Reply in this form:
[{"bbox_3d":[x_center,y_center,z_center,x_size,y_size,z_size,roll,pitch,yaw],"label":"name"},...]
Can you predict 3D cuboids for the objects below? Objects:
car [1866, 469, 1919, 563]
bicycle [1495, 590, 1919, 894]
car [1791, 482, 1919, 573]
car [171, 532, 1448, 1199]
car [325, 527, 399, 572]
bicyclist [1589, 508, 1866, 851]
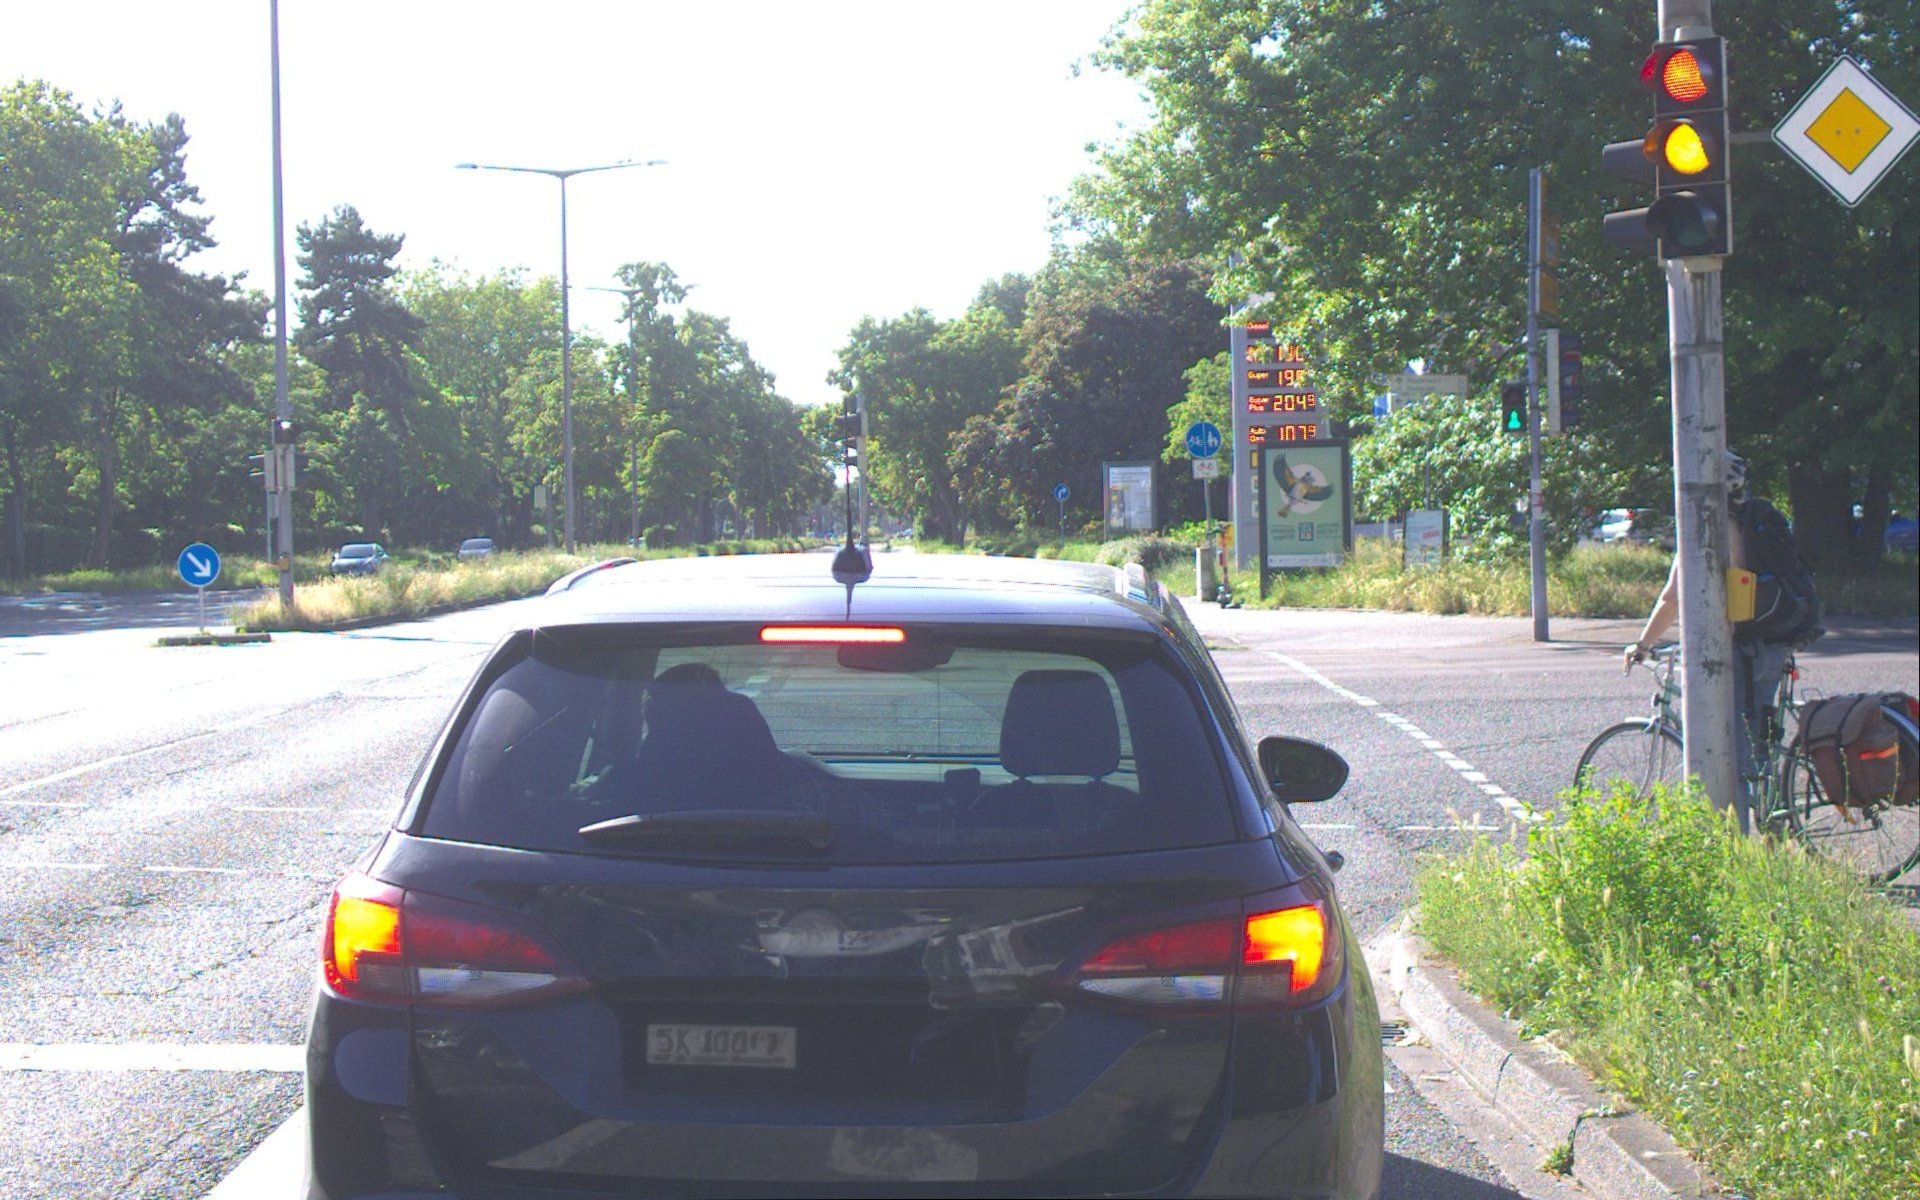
[{"bbox_3d":[17.095,-1.425,56.716,3.887,1.512,1.746,-2,1,-23],"label":"car"},{"bbox_3d":[2.980,0.545,13.333,0.536,1.094,1.775,-3,0,-44],"label":"bicycle"},{"bbox_3d":[16.619,-1.284,59.801,3.887,1.512,1.746,-2,1,-23],"label":"car"},{"bbox_3d":[-0.231,0.629,6.846,1.756,1.490,4.207,0,1,-1],"label":"car"},{"bbox_3d":[-21.521,-1.834,123.893,1.993,1.525,4.000,-2,1,-1],"label":"car"},{"bbox_3d":[2.971,0.308,13.329,0.536,1.272,0.829,-3,0,-44],"label":"bicyclist"}]
